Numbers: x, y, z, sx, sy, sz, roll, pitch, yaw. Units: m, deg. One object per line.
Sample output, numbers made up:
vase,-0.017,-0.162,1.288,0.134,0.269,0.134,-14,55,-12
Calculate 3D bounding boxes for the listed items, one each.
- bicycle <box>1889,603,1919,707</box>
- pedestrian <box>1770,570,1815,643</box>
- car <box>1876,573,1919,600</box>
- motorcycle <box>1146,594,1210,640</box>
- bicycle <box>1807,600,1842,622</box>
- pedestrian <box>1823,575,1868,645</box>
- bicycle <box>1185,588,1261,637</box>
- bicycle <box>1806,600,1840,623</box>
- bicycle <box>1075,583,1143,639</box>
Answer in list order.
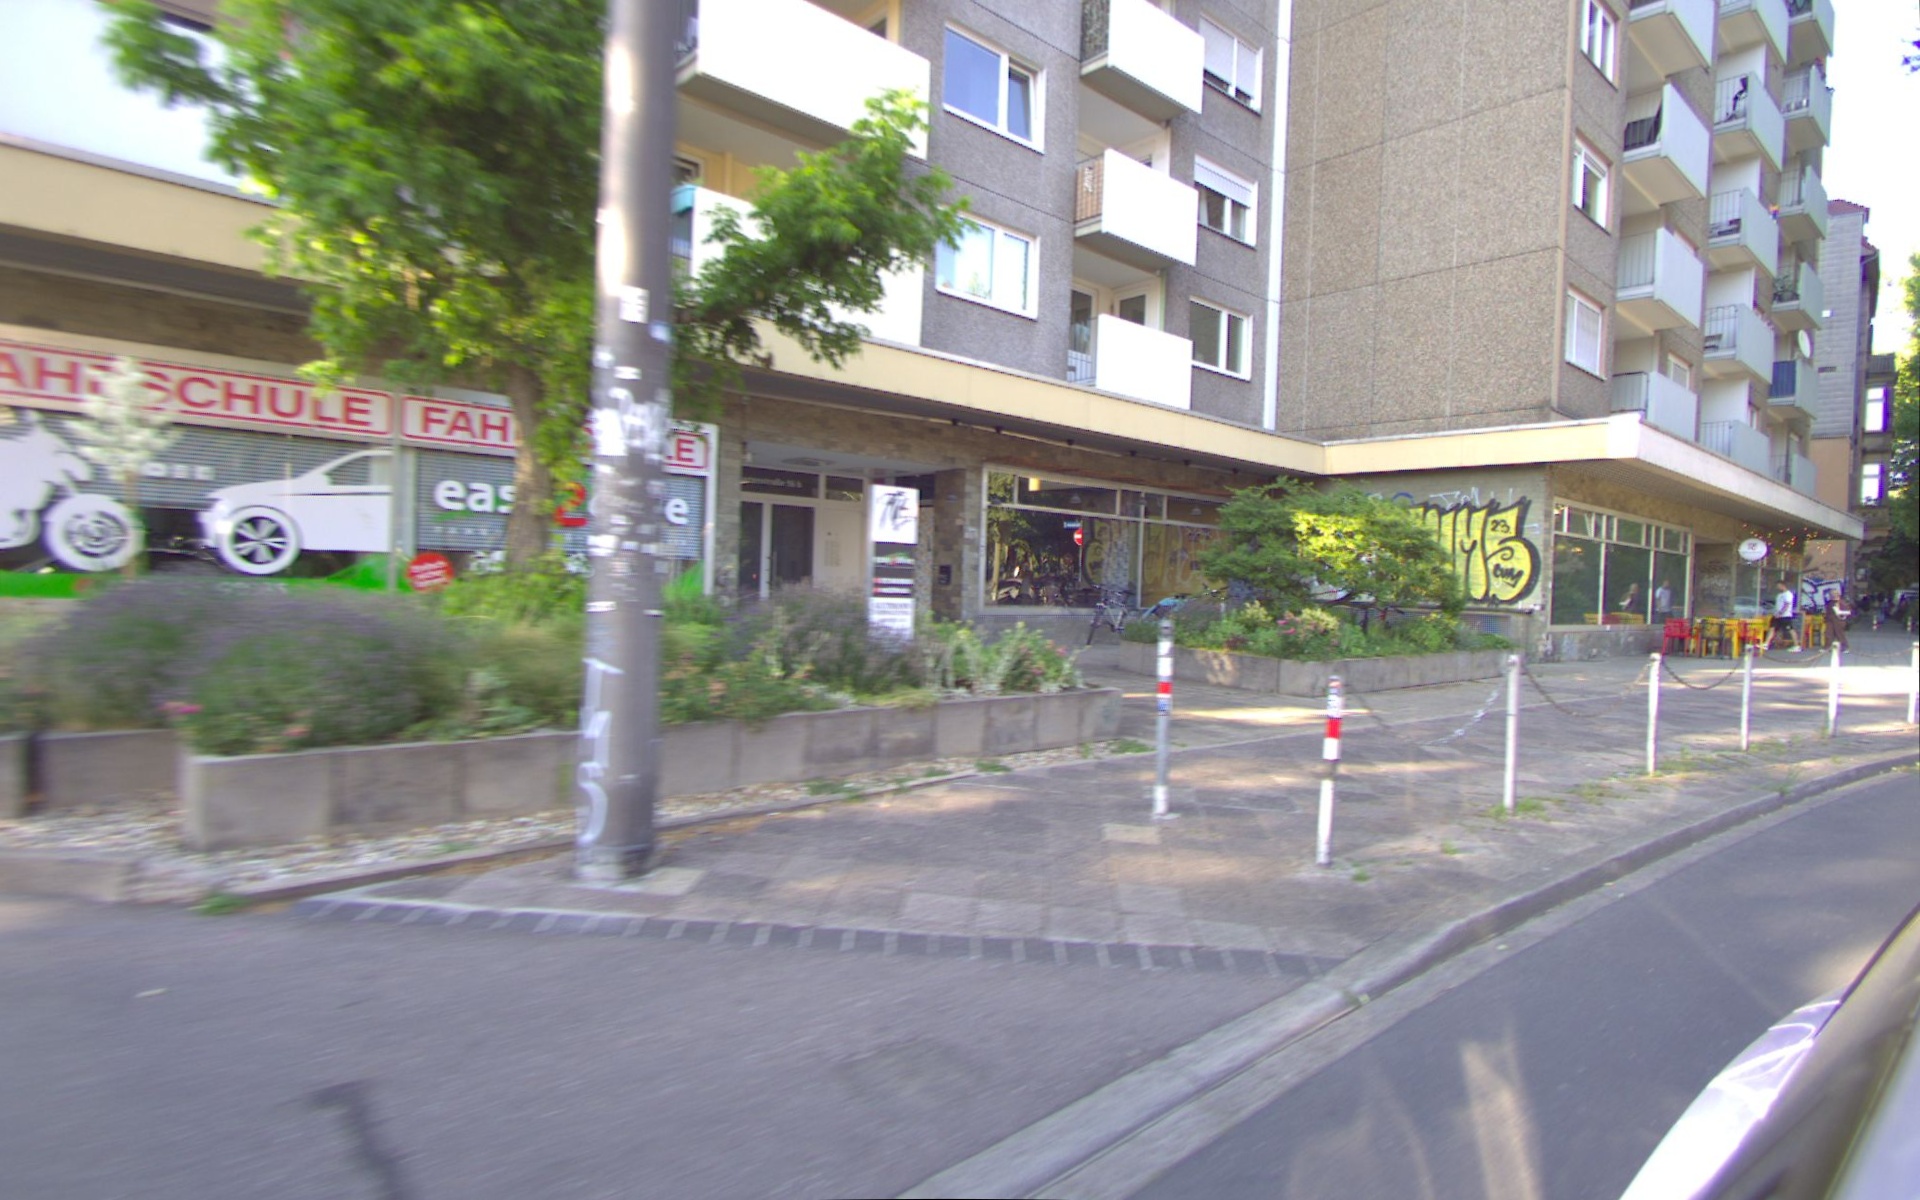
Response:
bicycle,12.630,0.695,12.553,2.044,1.241,0.642,1,2,-17
pedestrian,20.961,0.162,25.488,0.624,1.795,0.686,1,2,-38
car,64.541,-0.820,67.835,4.463,1.650,1.711,5,3,38
motorcycle,4.023,0.299,18.643,1.344,0.804,0.432,0,2,-43
bicycle,30.113,0.379,35.248,0.891,0.750,0.268,3,2,41
pedestrian,22.170,0.242,25.341,0.633,1.713,0.686,1,2,-38
bicycle,5.227,0.236,20.067,1.623,0.910,0.643,0,2,-42
bicycle,29.818,0.382,34.975,0.891,0.750,0.268,3,2,41
bicycle,2.643,0.189,17.911,1.302,0.954,0.432,0,2,-43
